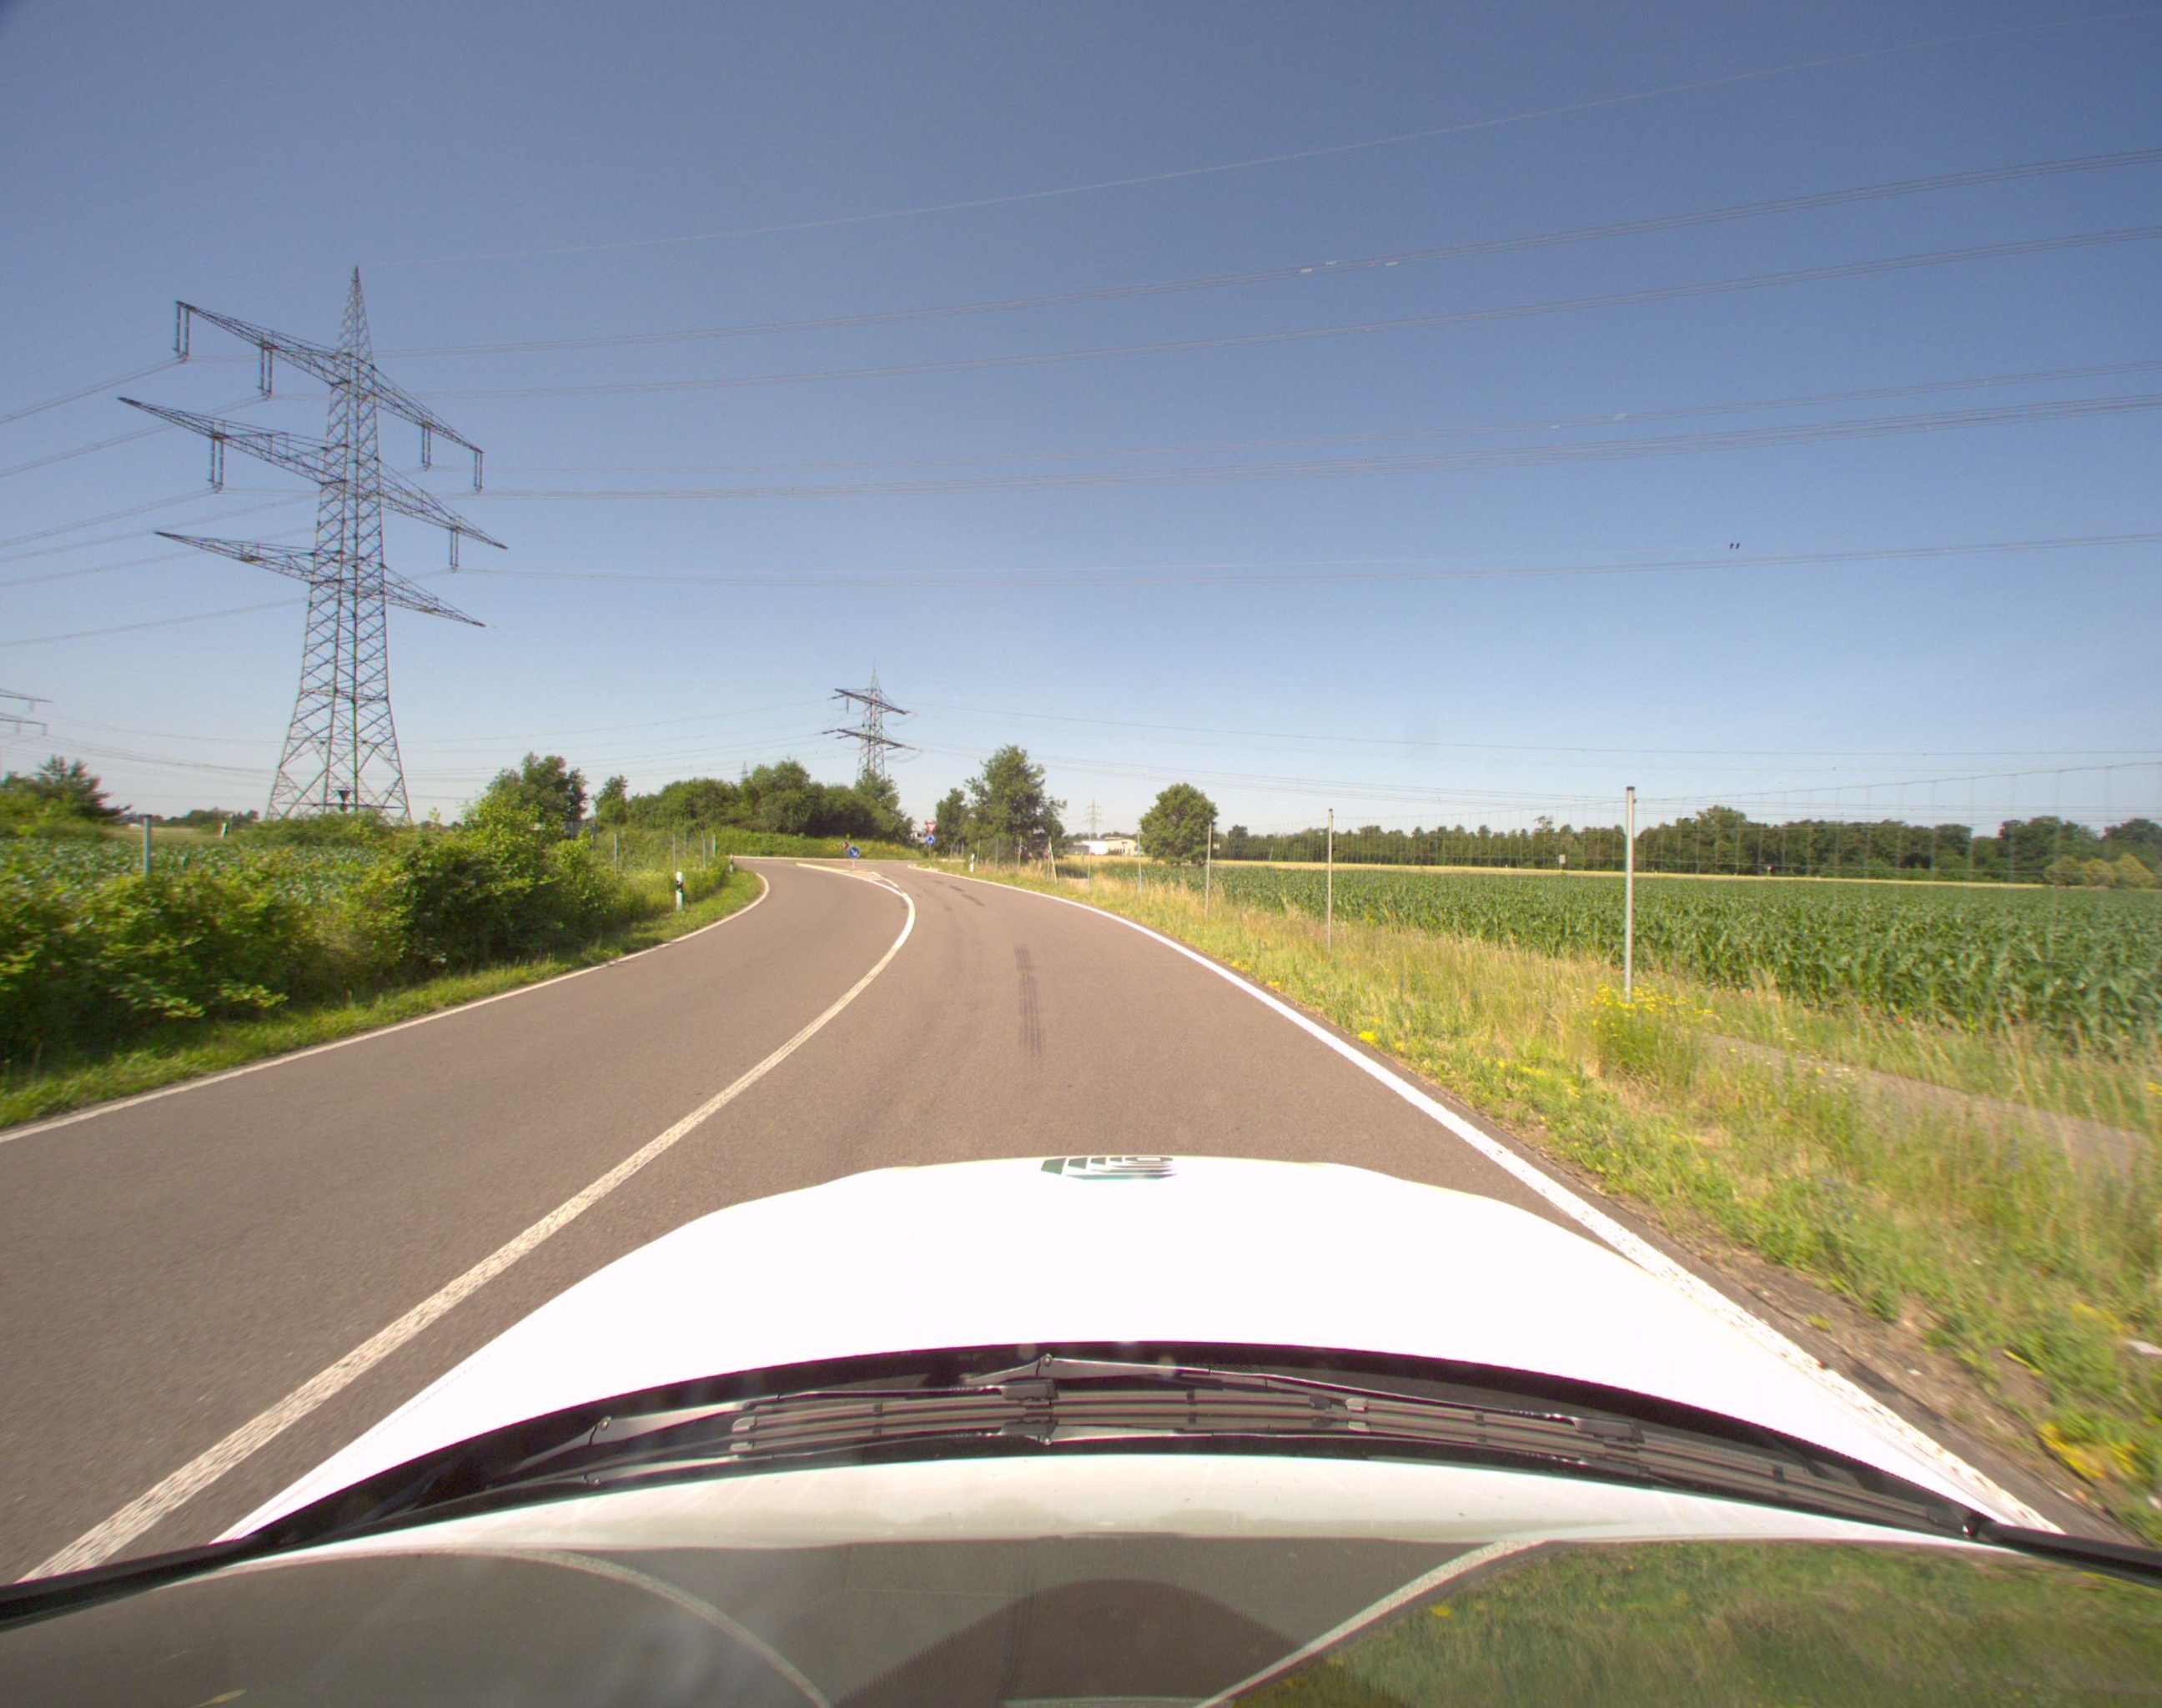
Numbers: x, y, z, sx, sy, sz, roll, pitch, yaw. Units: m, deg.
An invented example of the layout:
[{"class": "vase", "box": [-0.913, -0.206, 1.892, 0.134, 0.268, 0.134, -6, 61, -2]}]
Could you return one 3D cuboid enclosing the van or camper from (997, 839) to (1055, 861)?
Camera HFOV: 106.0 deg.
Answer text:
[{"class": "van or camper", "box": [-5.901, -0.419, 87.577, 5.778, 2.266, 1.983, 1, 0, -26]}]
